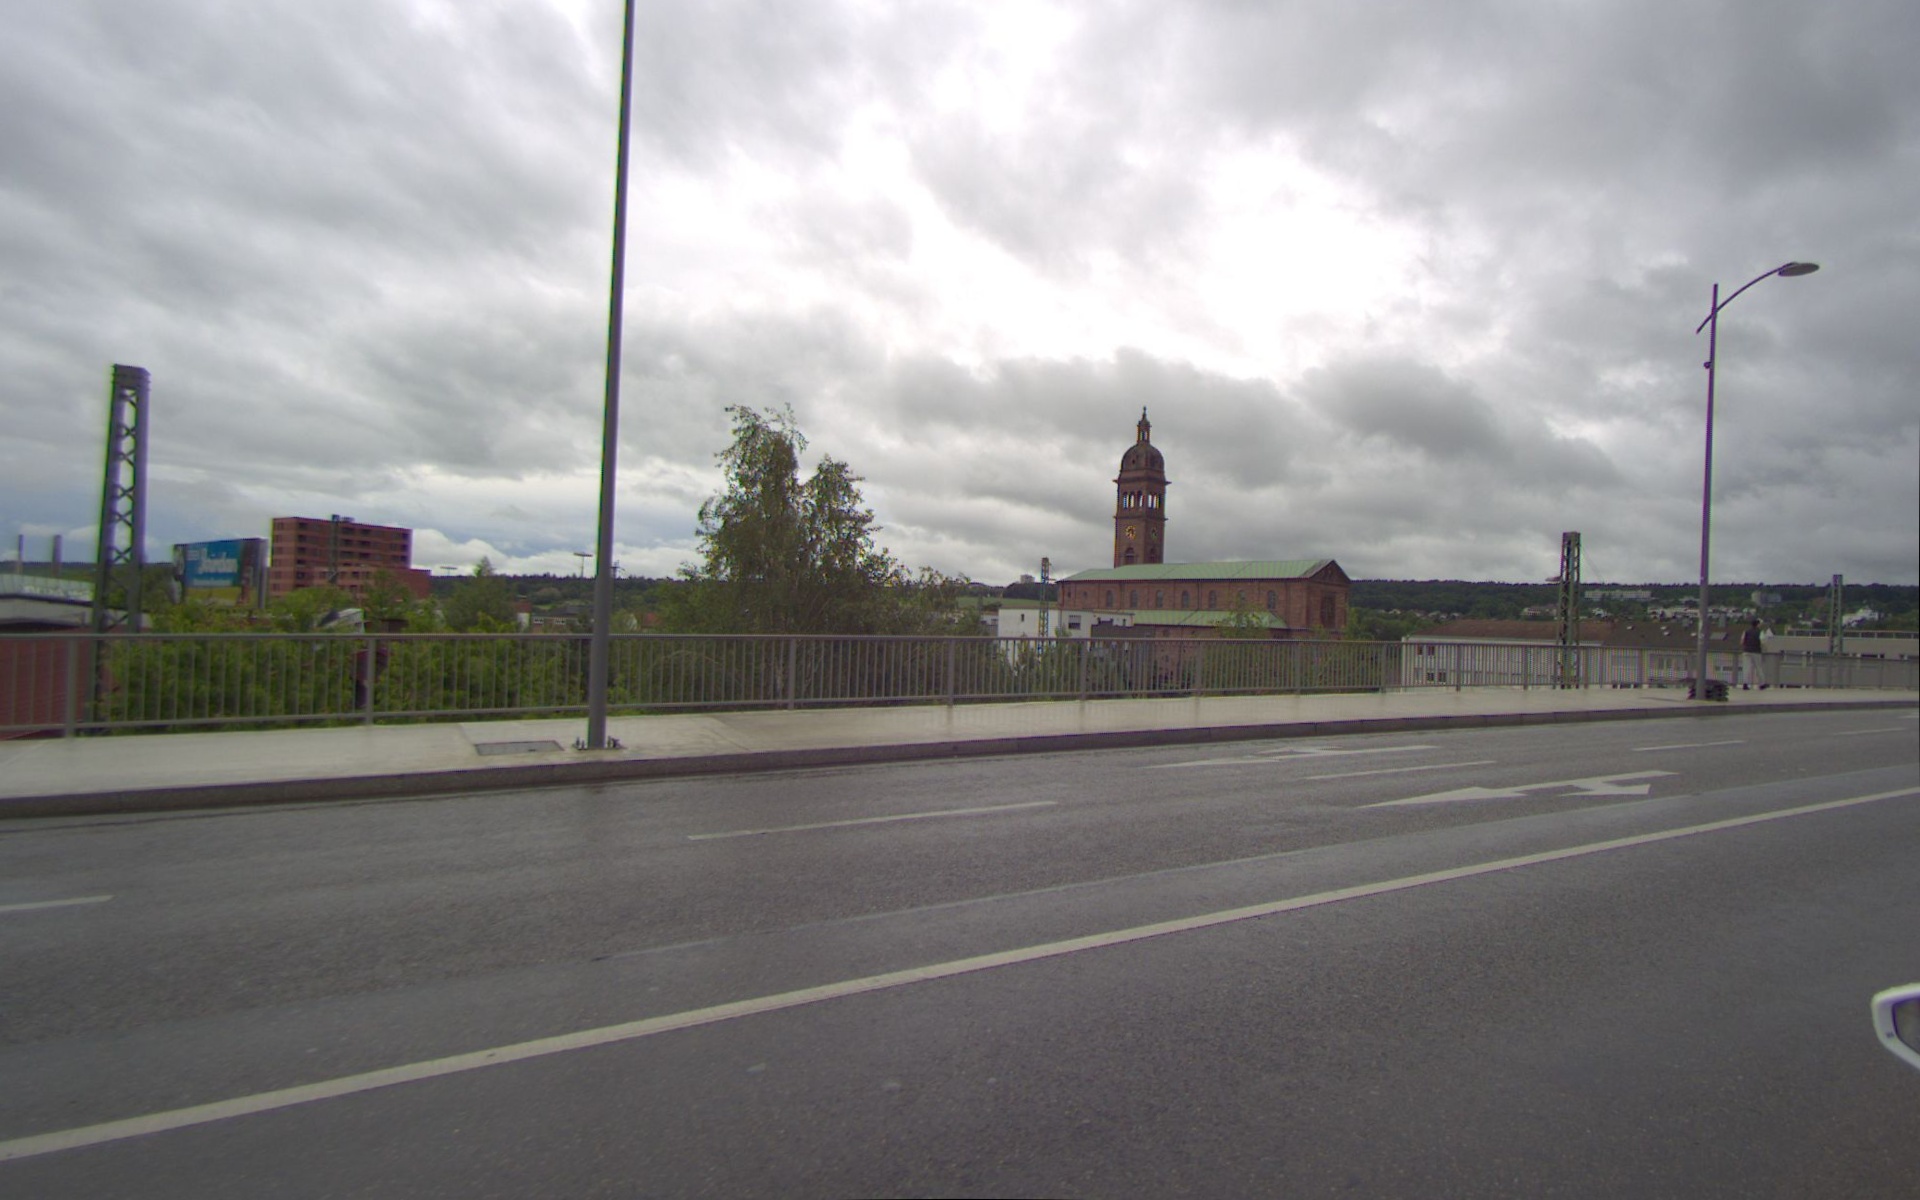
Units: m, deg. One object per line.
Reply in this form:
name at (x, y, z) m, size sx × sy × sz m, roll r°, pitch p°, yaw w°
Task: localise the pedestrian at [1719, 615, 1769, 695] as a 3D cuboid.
pedestrian at (20.698, 1.440, 26.516) m, size 0.881 × 2.075 × 0.753 m, roll 2°, pitch -1°, yaw -30°
